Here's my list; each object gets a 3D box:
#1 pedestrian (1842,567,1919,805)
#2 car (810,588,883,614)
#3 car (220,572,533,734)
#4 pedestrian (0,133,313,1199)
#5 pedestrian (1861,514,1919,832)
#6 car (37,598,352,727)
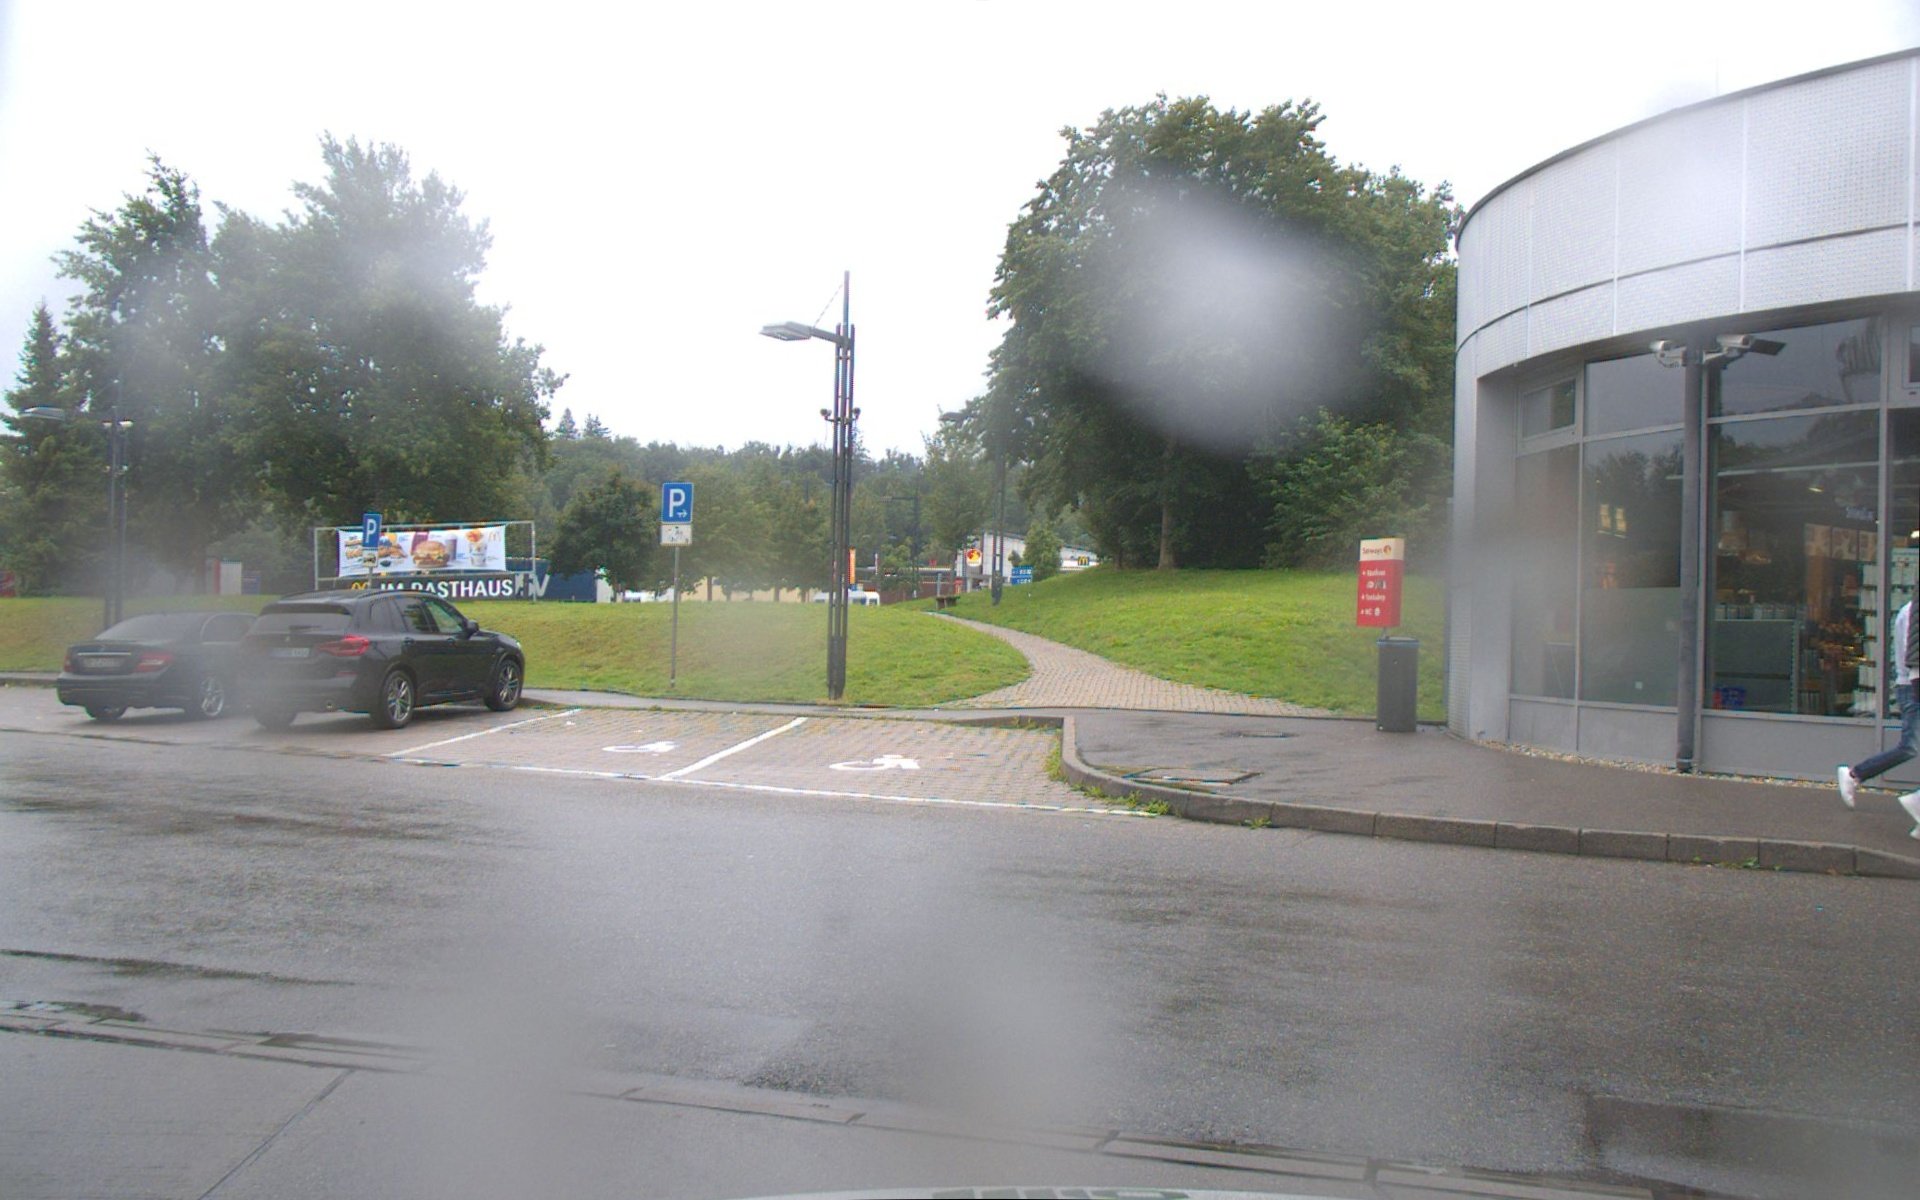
[{"bbox_3d":[6.497,0.568,11.244,0.872,1.577,0.659,0,0,29],"label":"pedestrian"},{"bbox_3d":[-9.177,0.056,133.633,5.310,2.049,2.456,1,0,19],"label":"car"},{"bbox_3d":[-7.333,0.607,21.324,1.844,1.860,4.417,0,0,11],"label":"car"},{"bbox_3d":[-1.177,0.492,1.511,0.777,1.765,0.840,0,0,7],"label":"pedestrian"},{"bbox_3d":[6.023,0.427,10.031,0.954,1.880,0.772,0,0,28],"label":"pedestrian"},{"bbox_3d":[-10.359,0.779,22.763,1.844,1.592,4.189,0,0,11],"label":"car"}]
